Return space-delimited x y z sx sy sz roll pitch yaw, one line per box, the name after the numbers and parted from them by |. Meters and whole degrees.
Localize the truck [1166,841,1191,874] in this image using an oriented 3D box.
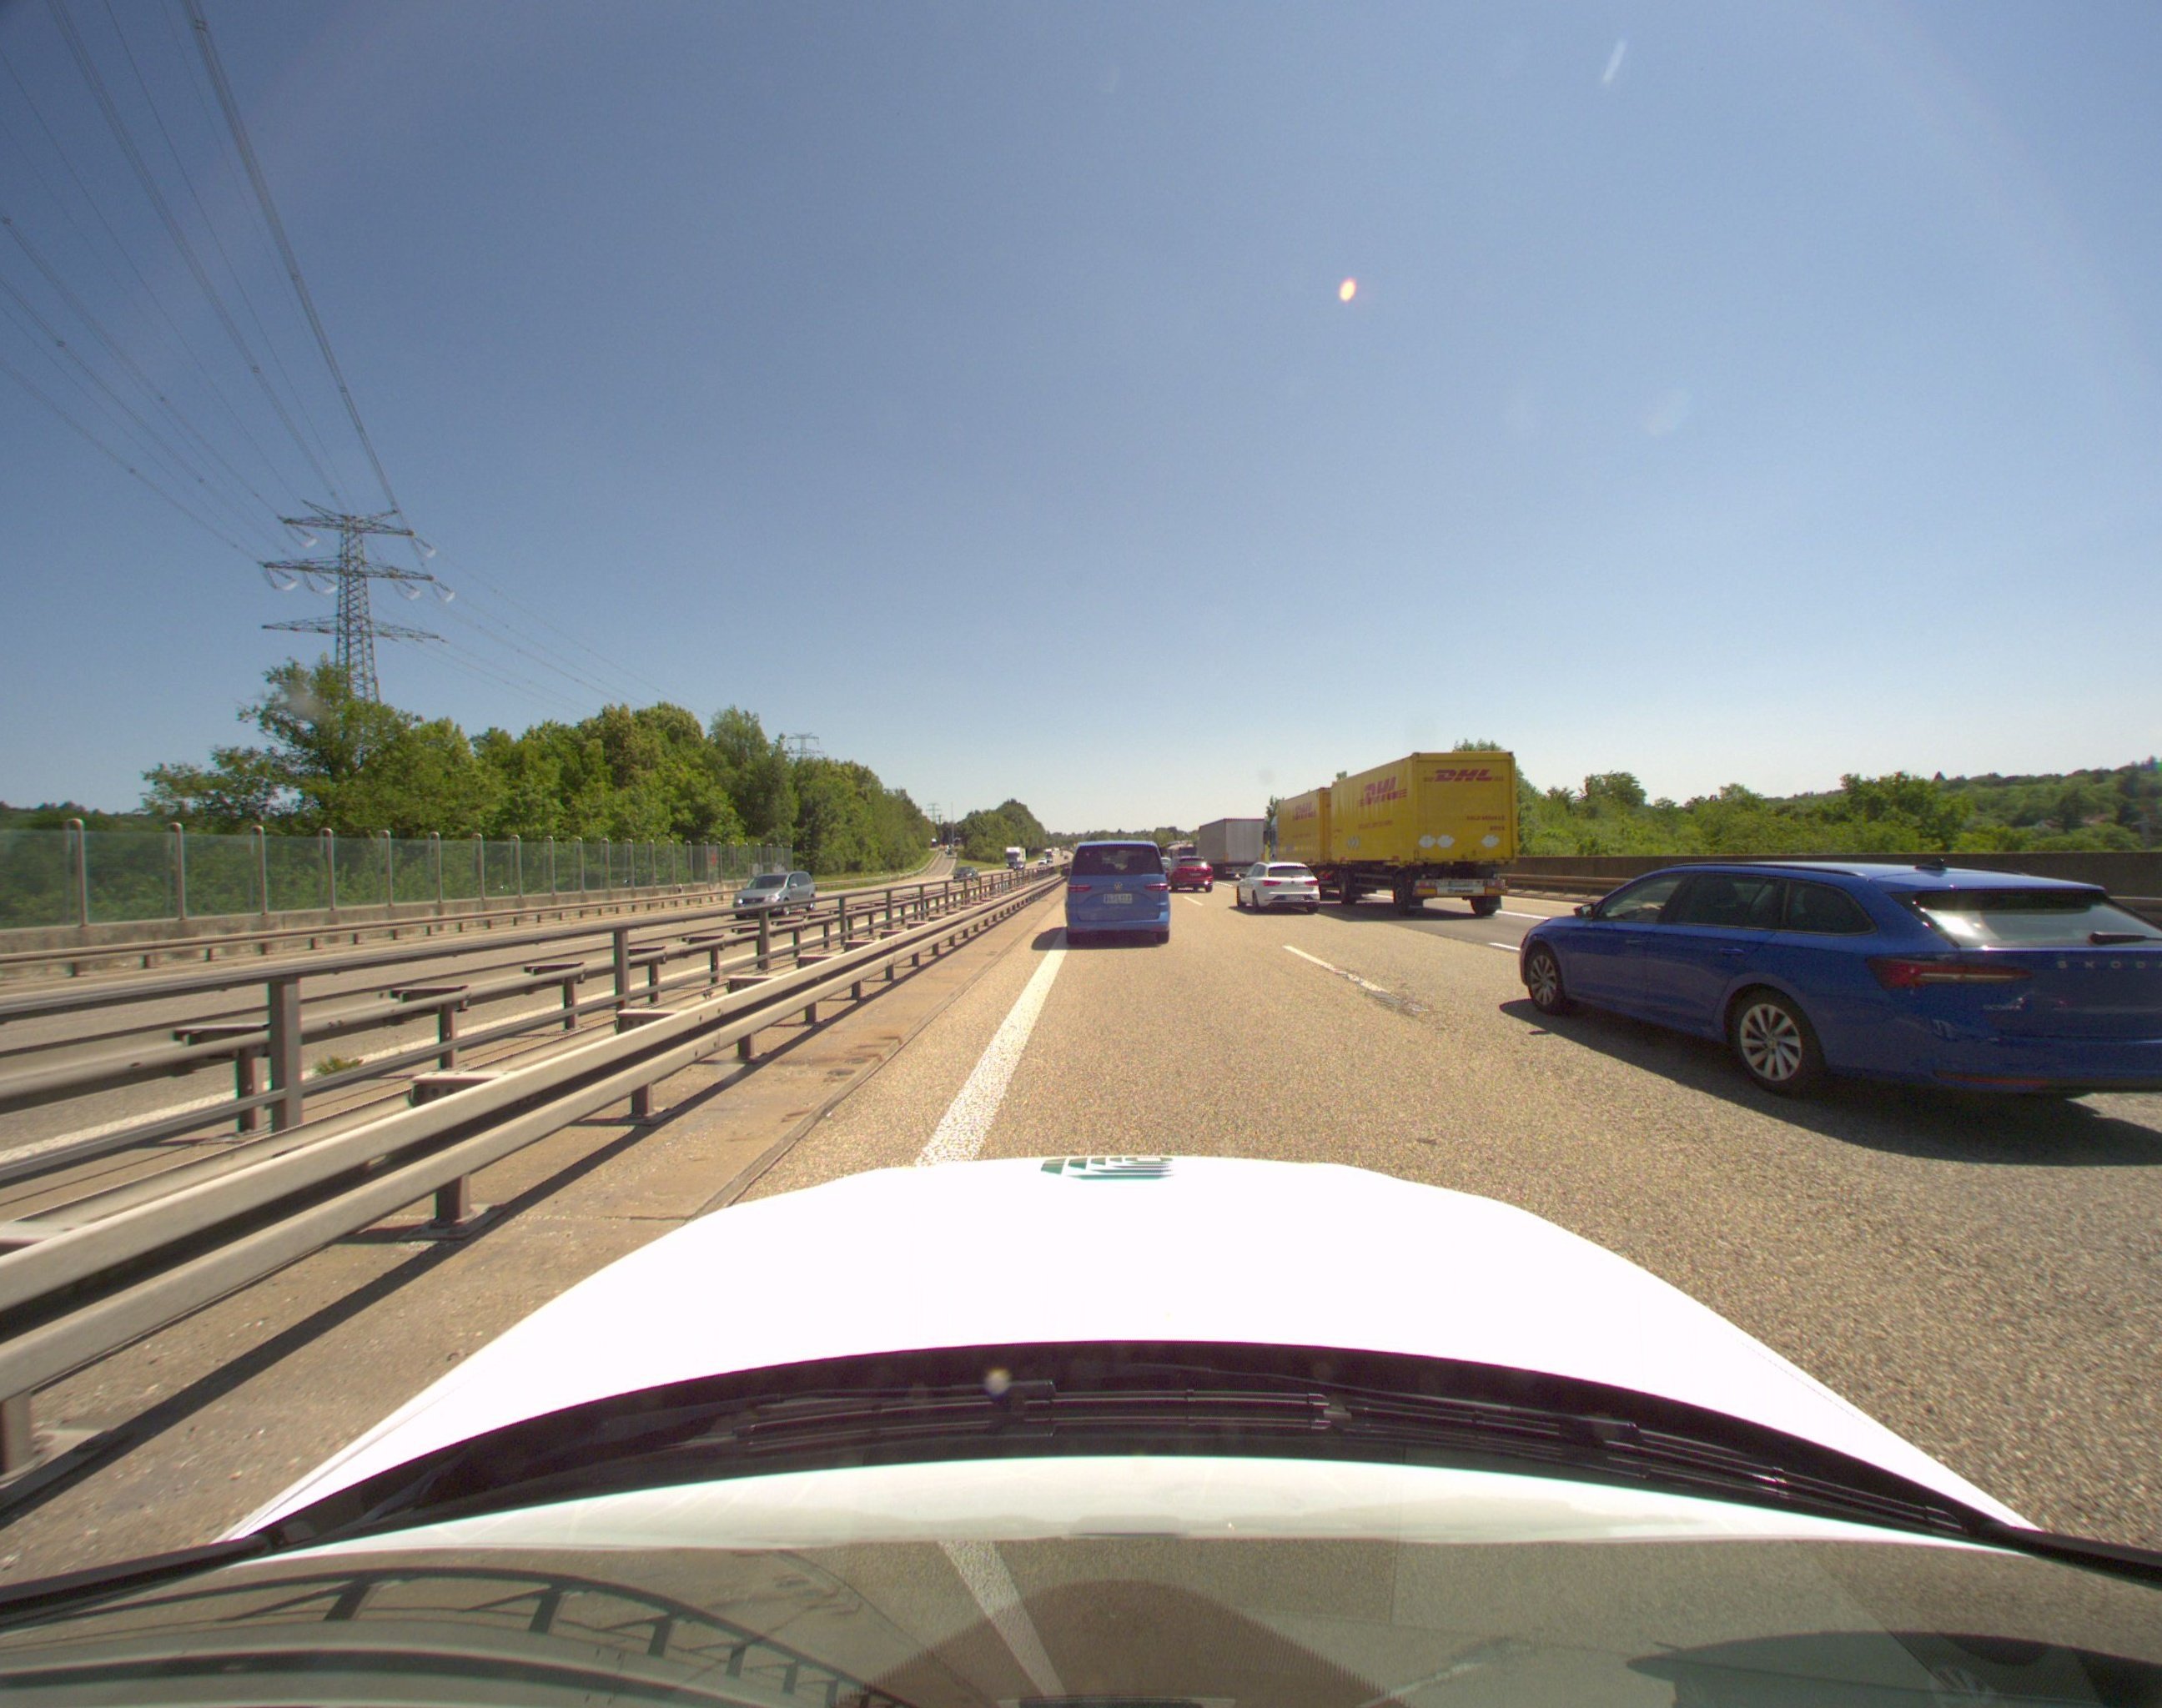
11.419 0.445 95.628 2.359 3.722 6.034 0 -1 1 | truck

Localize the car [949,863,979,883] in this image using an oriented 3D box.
-10.354 1.694 72.217 1.823 1.609 4.170 -4 -1 1 | car

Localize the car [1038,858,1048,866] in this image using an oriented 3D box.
-8.593 1.778 183.654 1.915 1.689 4.122 -4 -1 1 | car

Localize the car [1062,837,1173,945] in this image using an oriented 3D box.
0.701 0.666 16.053 1.875 1.837 4.002 -1 -1 2 | car

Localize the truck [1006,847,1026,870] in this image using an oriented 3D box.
-12.608 0.905 157.941 2.978 4.279 7.190 -2 0 1 | truck

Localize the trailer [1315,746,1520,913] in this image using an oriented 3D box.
9.419 -0.515 24.151 2.691 4.024 8.935 0 -1 2 | trailer

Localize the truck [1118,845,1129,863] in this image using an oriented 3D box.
12.469 0.037 240.115 2.824 5.040 12.912 0 -1 1 | truck

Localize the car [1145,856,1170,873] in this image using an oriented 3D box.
6.697 0.937 71.765 1.832 1.414 4.000 -1 -1 0 | car

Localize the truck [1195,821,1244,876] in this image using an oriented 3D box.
10.688 -0.356 63.359 2.758 4.095 6.986 0 -1 1 | truck

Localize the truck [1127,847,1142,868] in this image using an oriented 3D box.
12.724 0.949 194.886 2.824 4.886 13.219 0 -1 1 | truck

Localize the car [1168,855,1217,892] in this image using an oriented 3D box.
5.120 0.864 37.968 1.844 1.608 4.002 -1 -1 2 | car

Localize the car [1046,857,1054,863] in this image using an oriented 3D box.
-8.392 1.647 222.176 1.915 1.689 4.122 -4 -1 1 | car

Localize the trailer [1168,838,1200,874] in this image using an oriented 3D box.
11.265 0.326 89.840 2.371 3.744 11.190 0 -1 2 | trailer

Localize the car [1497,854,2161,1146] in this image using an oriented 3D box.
5.168 0.749 6.314 1.703 1.440 4.502 -1 -1 2 | car

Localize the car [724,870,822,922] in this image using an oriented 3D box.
-11.196 1.468 29.933 1.823 1.609 4.170 -4 -1 1 | car

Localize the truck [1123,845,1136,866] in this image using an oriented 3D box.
12.645 0.467 213.581 2.824 5.373 12.554 0 -1 1 | truck

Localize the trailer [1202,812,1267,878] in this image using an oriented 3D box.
10.503 -0.468 56.944 2.744 4.146 11.315 0 -1 2 | trailer

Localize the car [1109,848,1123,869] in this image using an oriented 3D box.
7.708 1.088 180.506 3.081 4.397 11.933 0 -1 2 | car

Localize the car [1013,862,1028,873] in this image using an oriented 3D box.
-9.361 2.018 125.631 1.823 1.609 4.170 -2 0 1 | car

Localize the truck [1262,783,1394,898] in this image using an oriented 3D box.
9.833 -0.385 33.797 2.711 4.055 10.341 0 -1 2 | truck

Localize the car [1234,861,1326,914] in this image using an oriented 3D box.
5.642 0.899 23.562 1.774 1.387 4.190 -1 -1 2 | car

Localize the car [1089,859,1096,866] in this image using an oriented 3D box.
2.977 2.326 217.023 1.733 1.911 3.682 0 -1 2 | car

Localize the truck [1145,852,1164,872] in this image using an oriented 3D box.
12.077 1.342 134.672 2.347 3.219 9.740 0 -1 1 | truck

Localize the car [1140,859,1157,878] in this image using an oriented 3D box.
7.199 1.543 86.988 1.577 2.014 3.494 0 -1 2 | car

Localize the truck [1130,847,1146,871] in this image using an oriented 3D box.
12.272 1.137 175.591 2.824 5.040 11.816 0 -1 1 | truck

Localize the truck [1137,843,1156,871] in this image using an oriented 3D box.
12.345 0.716 153.567 2.824 5.040 11.145 0 -1 1 | truck
